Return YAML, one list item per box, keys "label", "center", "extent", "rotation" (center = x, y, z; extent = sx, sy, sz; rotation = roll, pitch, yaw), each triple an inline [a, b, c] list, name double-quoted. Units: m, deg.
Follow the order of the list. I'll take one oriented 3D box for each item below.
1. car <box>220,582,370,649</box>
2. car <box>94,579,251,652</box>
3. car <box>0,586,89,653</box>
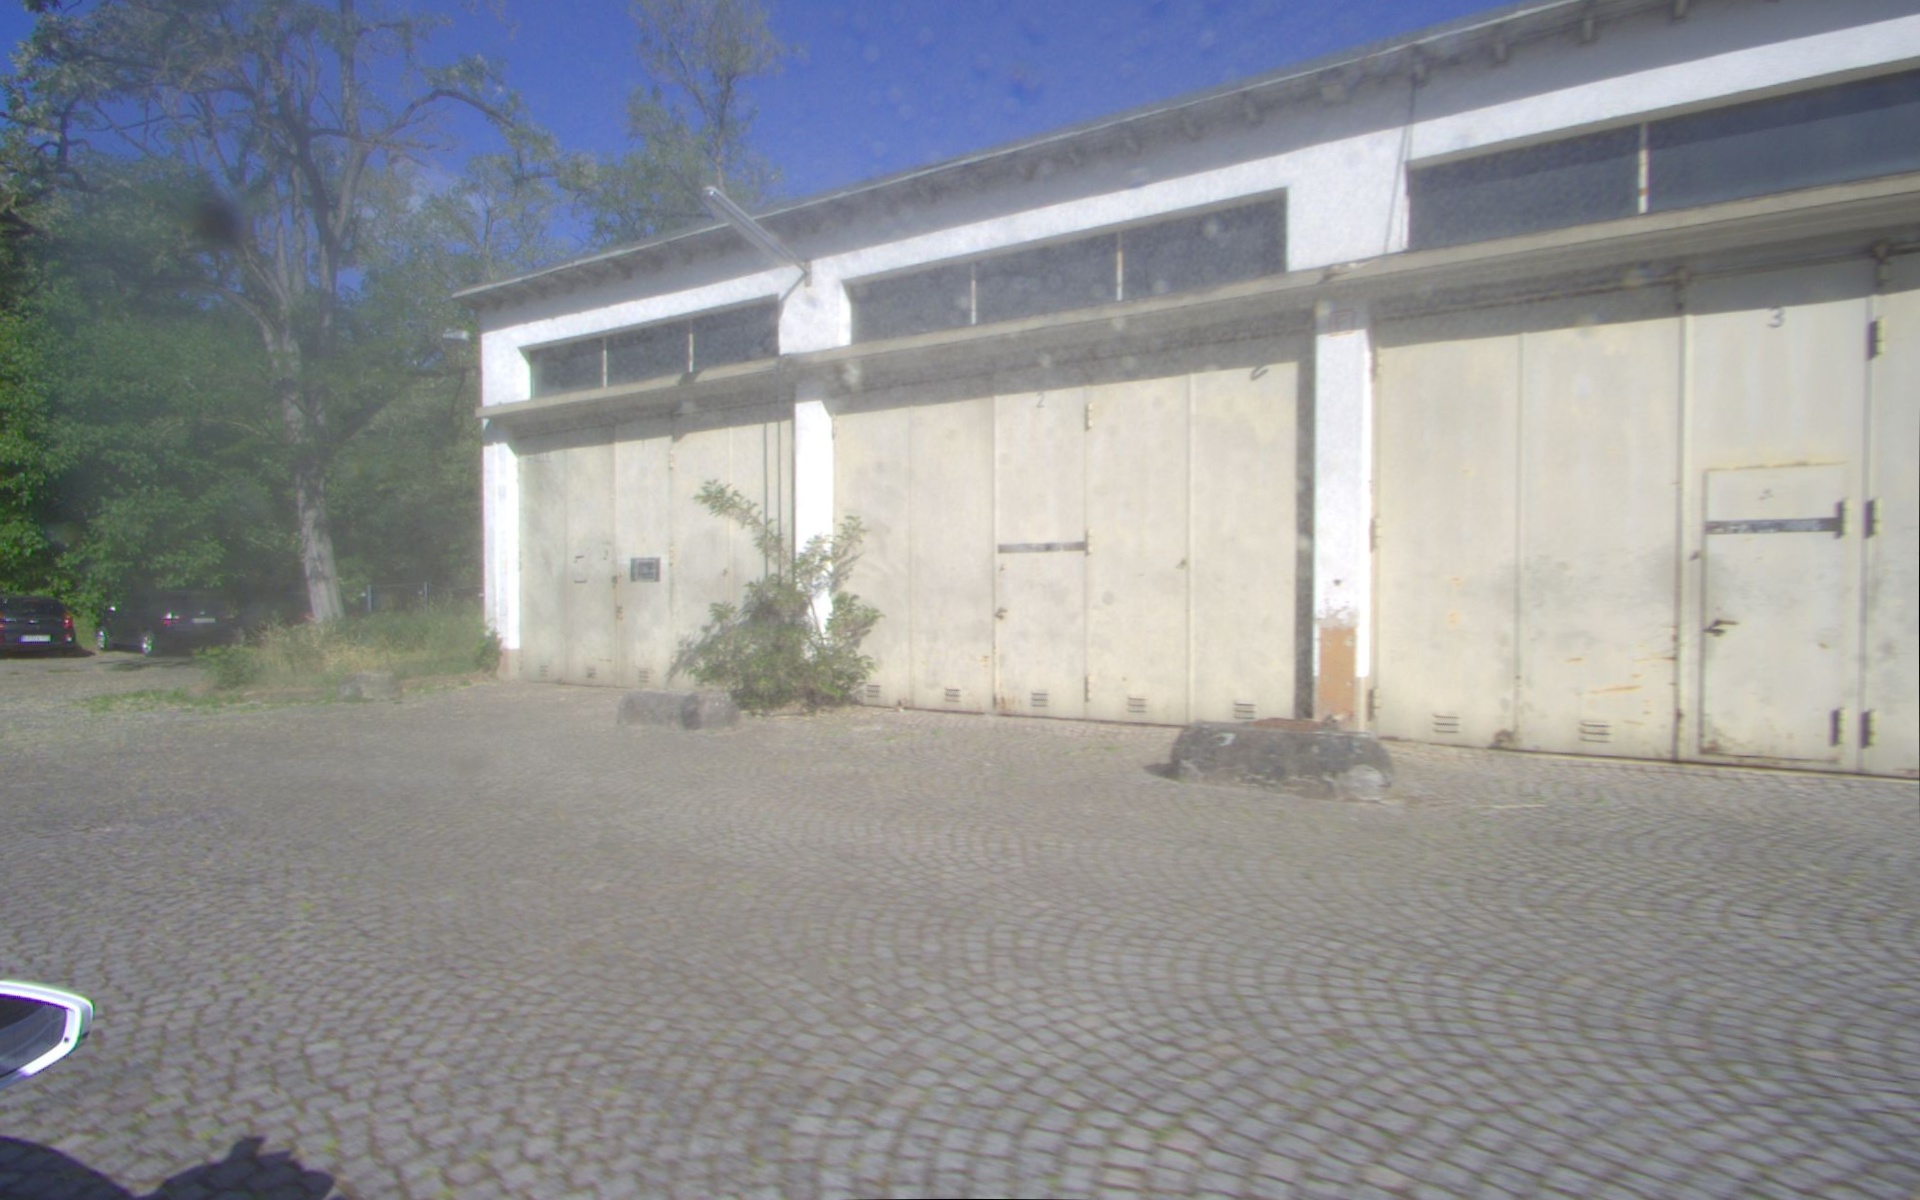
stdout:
- label: "car"
  center: [-19.553, 0.405, 29.424]
  extent: [4.204, 1.611, 1.823]
  rotation: [4, 2, 27]
- label: "car"
  center: [-20.974, 0.379, 26.646]
  extent: [4.208, 1.653, 1.872]
  rotation: [3, 1, 31]
- label: "car"
  center: [-22.822, 0.439, 24.367]
  extent: [3.676, 1.470, 1.733]
  rotation: [2, 0, 37]
